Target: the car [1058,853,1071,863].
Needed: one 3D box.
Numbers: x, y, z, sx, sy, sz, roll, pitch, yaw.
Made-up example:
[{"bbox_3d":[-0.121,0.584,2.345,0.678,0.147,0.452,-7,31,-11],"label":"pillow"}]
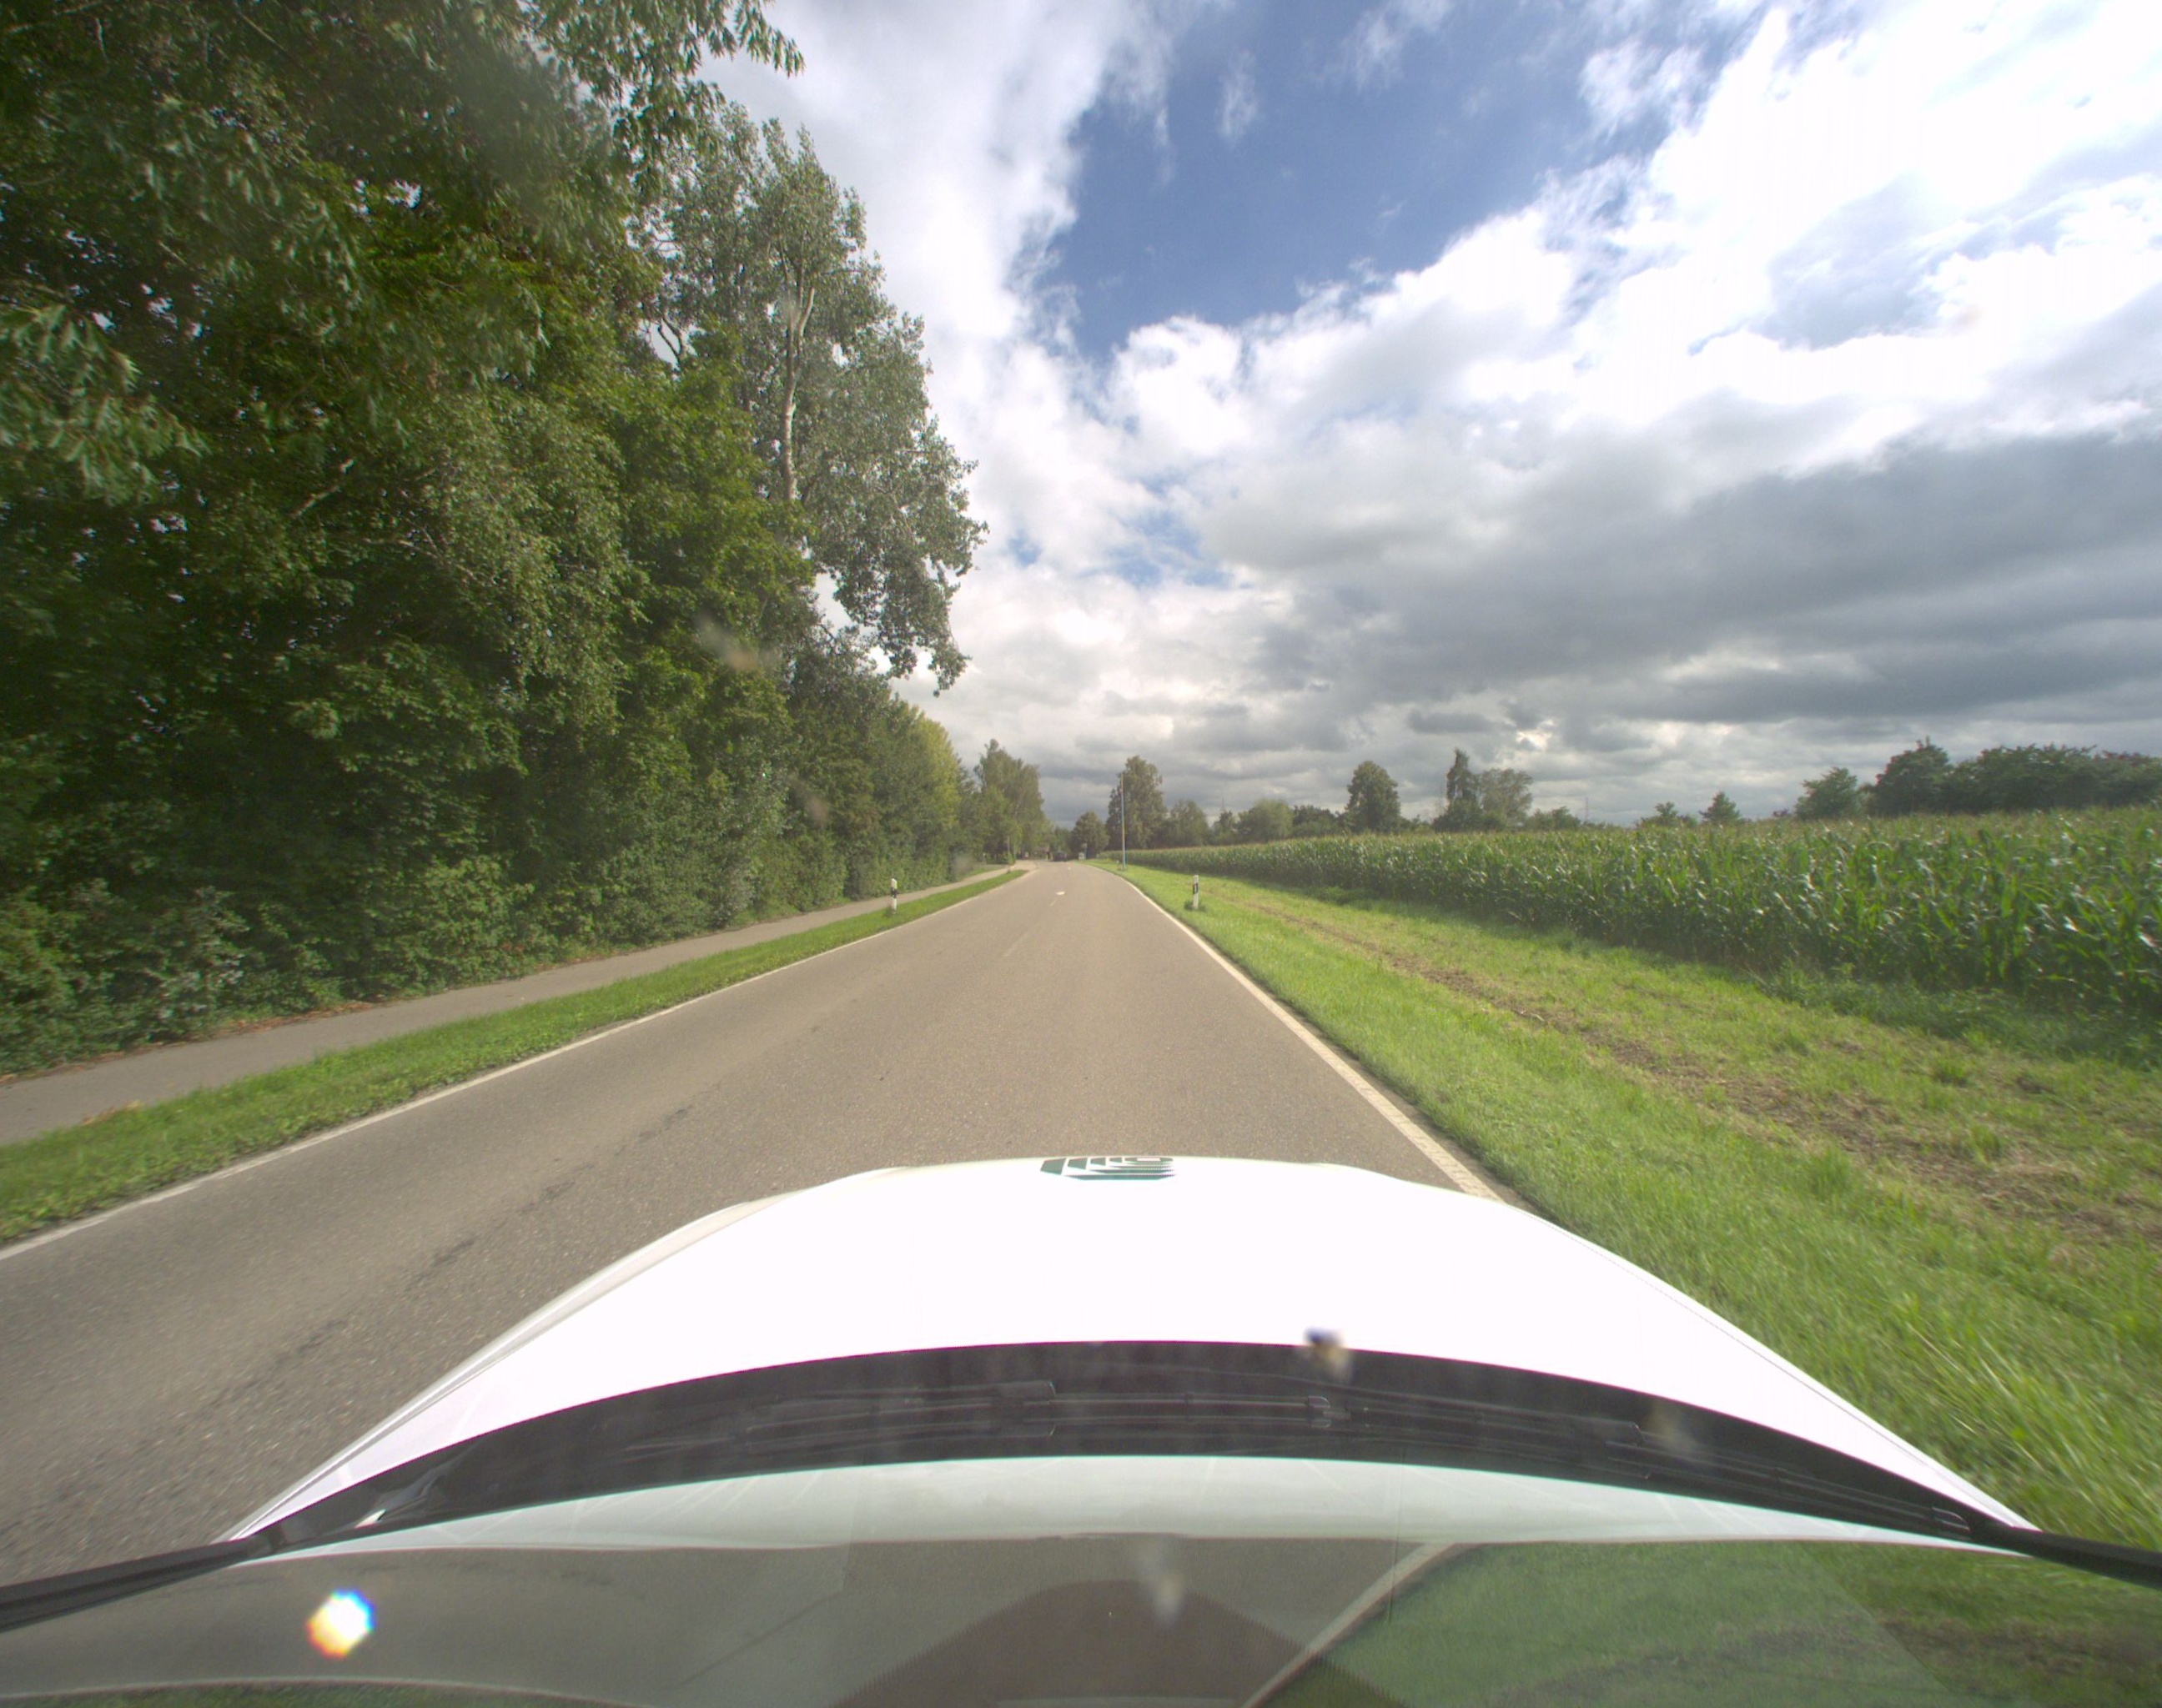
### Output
[{"bbox_3d":[-2.726,0.717,132.511,1.989,1.585,3.996,1,-1,-2],"label":"car"}]
